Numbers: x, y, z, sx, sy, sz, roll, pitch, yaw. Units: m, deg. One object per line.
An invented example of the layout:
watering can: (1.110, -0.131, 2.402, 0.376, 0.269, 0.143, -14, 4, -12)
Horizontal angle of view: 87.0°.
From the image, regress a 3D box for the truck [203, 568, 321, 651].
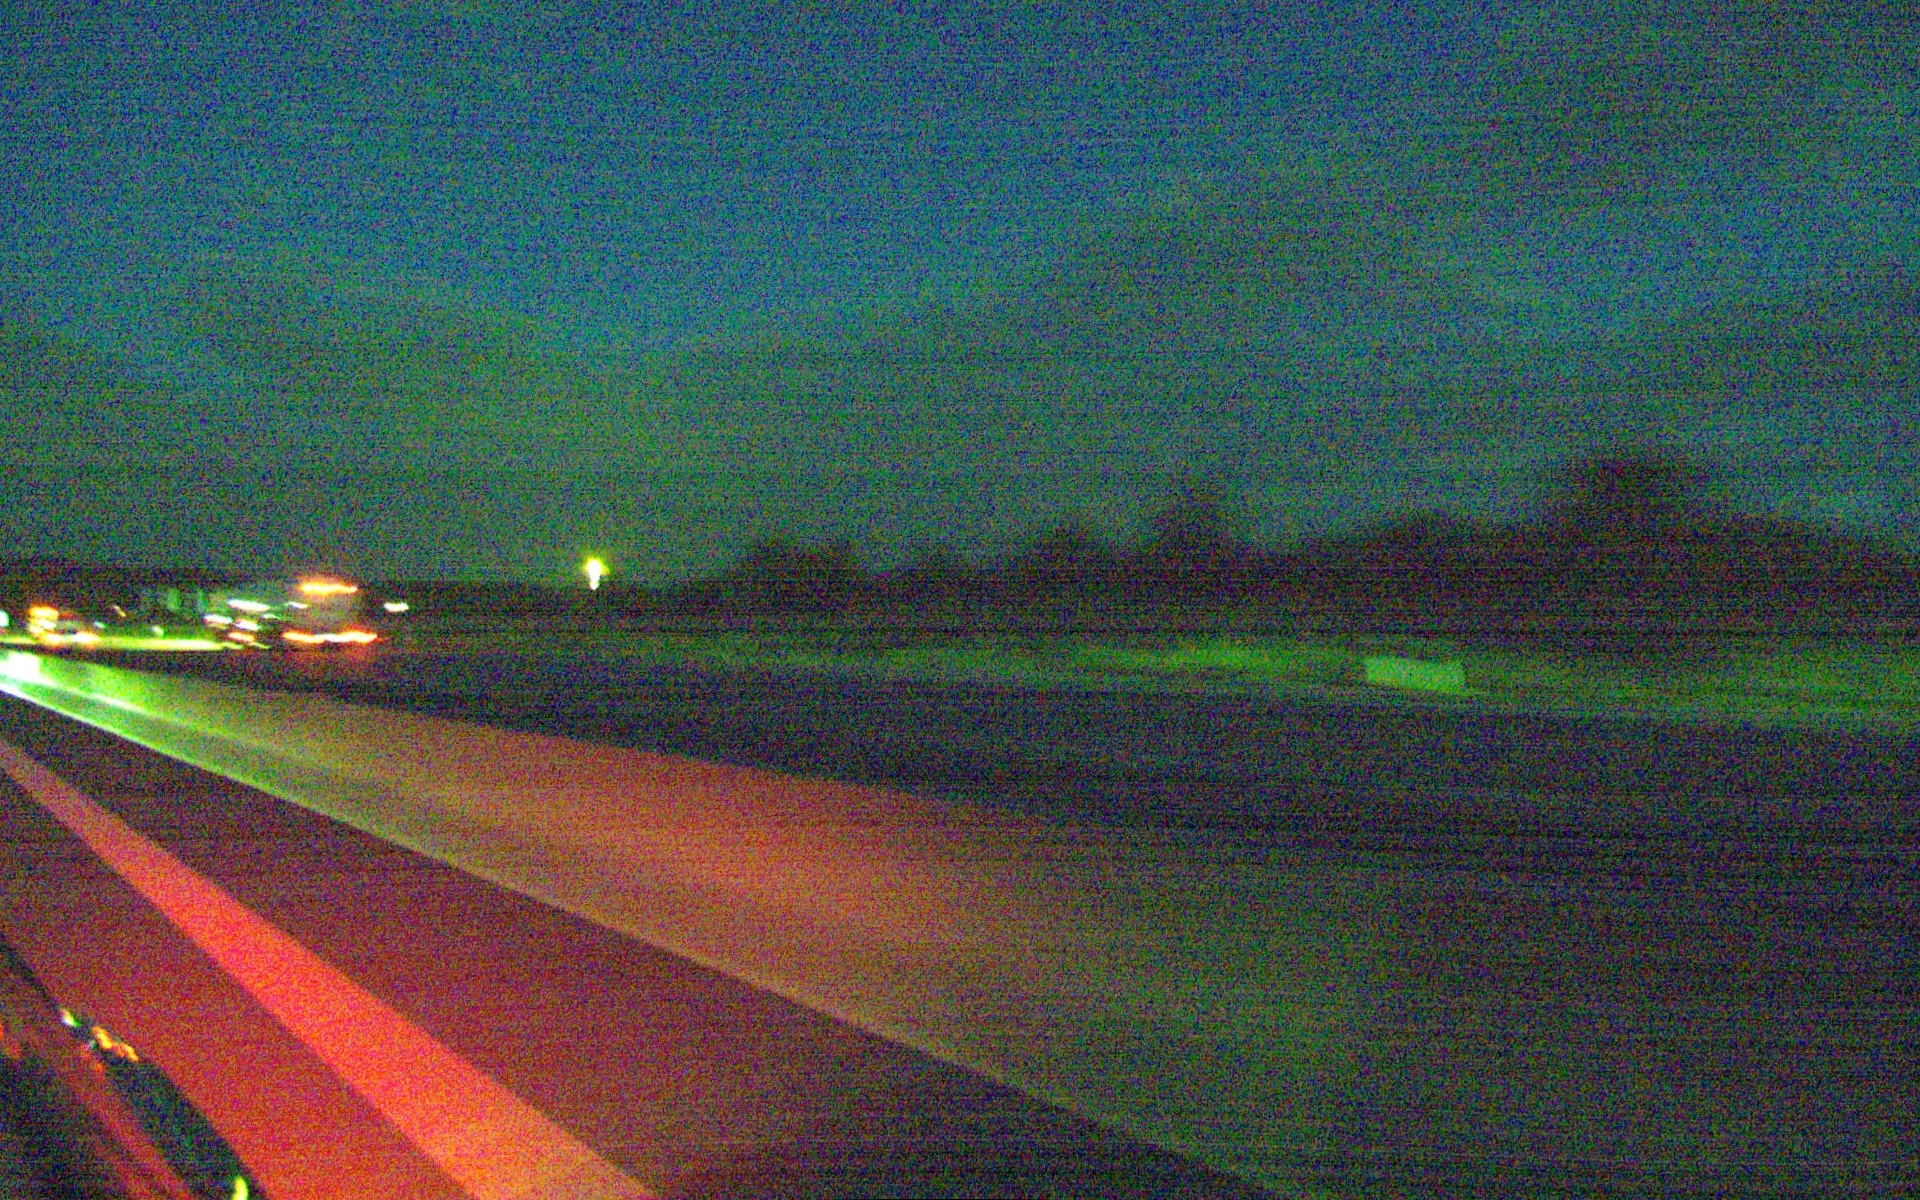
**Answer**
truck: (-36.263, 0.496, 52.512, 6.770, 4.037, 3.402, -1, 0, 40)

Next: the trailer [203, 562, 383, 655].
trailer: (-33.218, 0.448, 49.929, 14.749, 4.037, 3.402, -1, 0, 40)

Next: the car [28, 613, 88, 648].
car: (-60.284, 2.044, 67.578, 6.960, 2.214, 2.032, -1, -1, 40)
